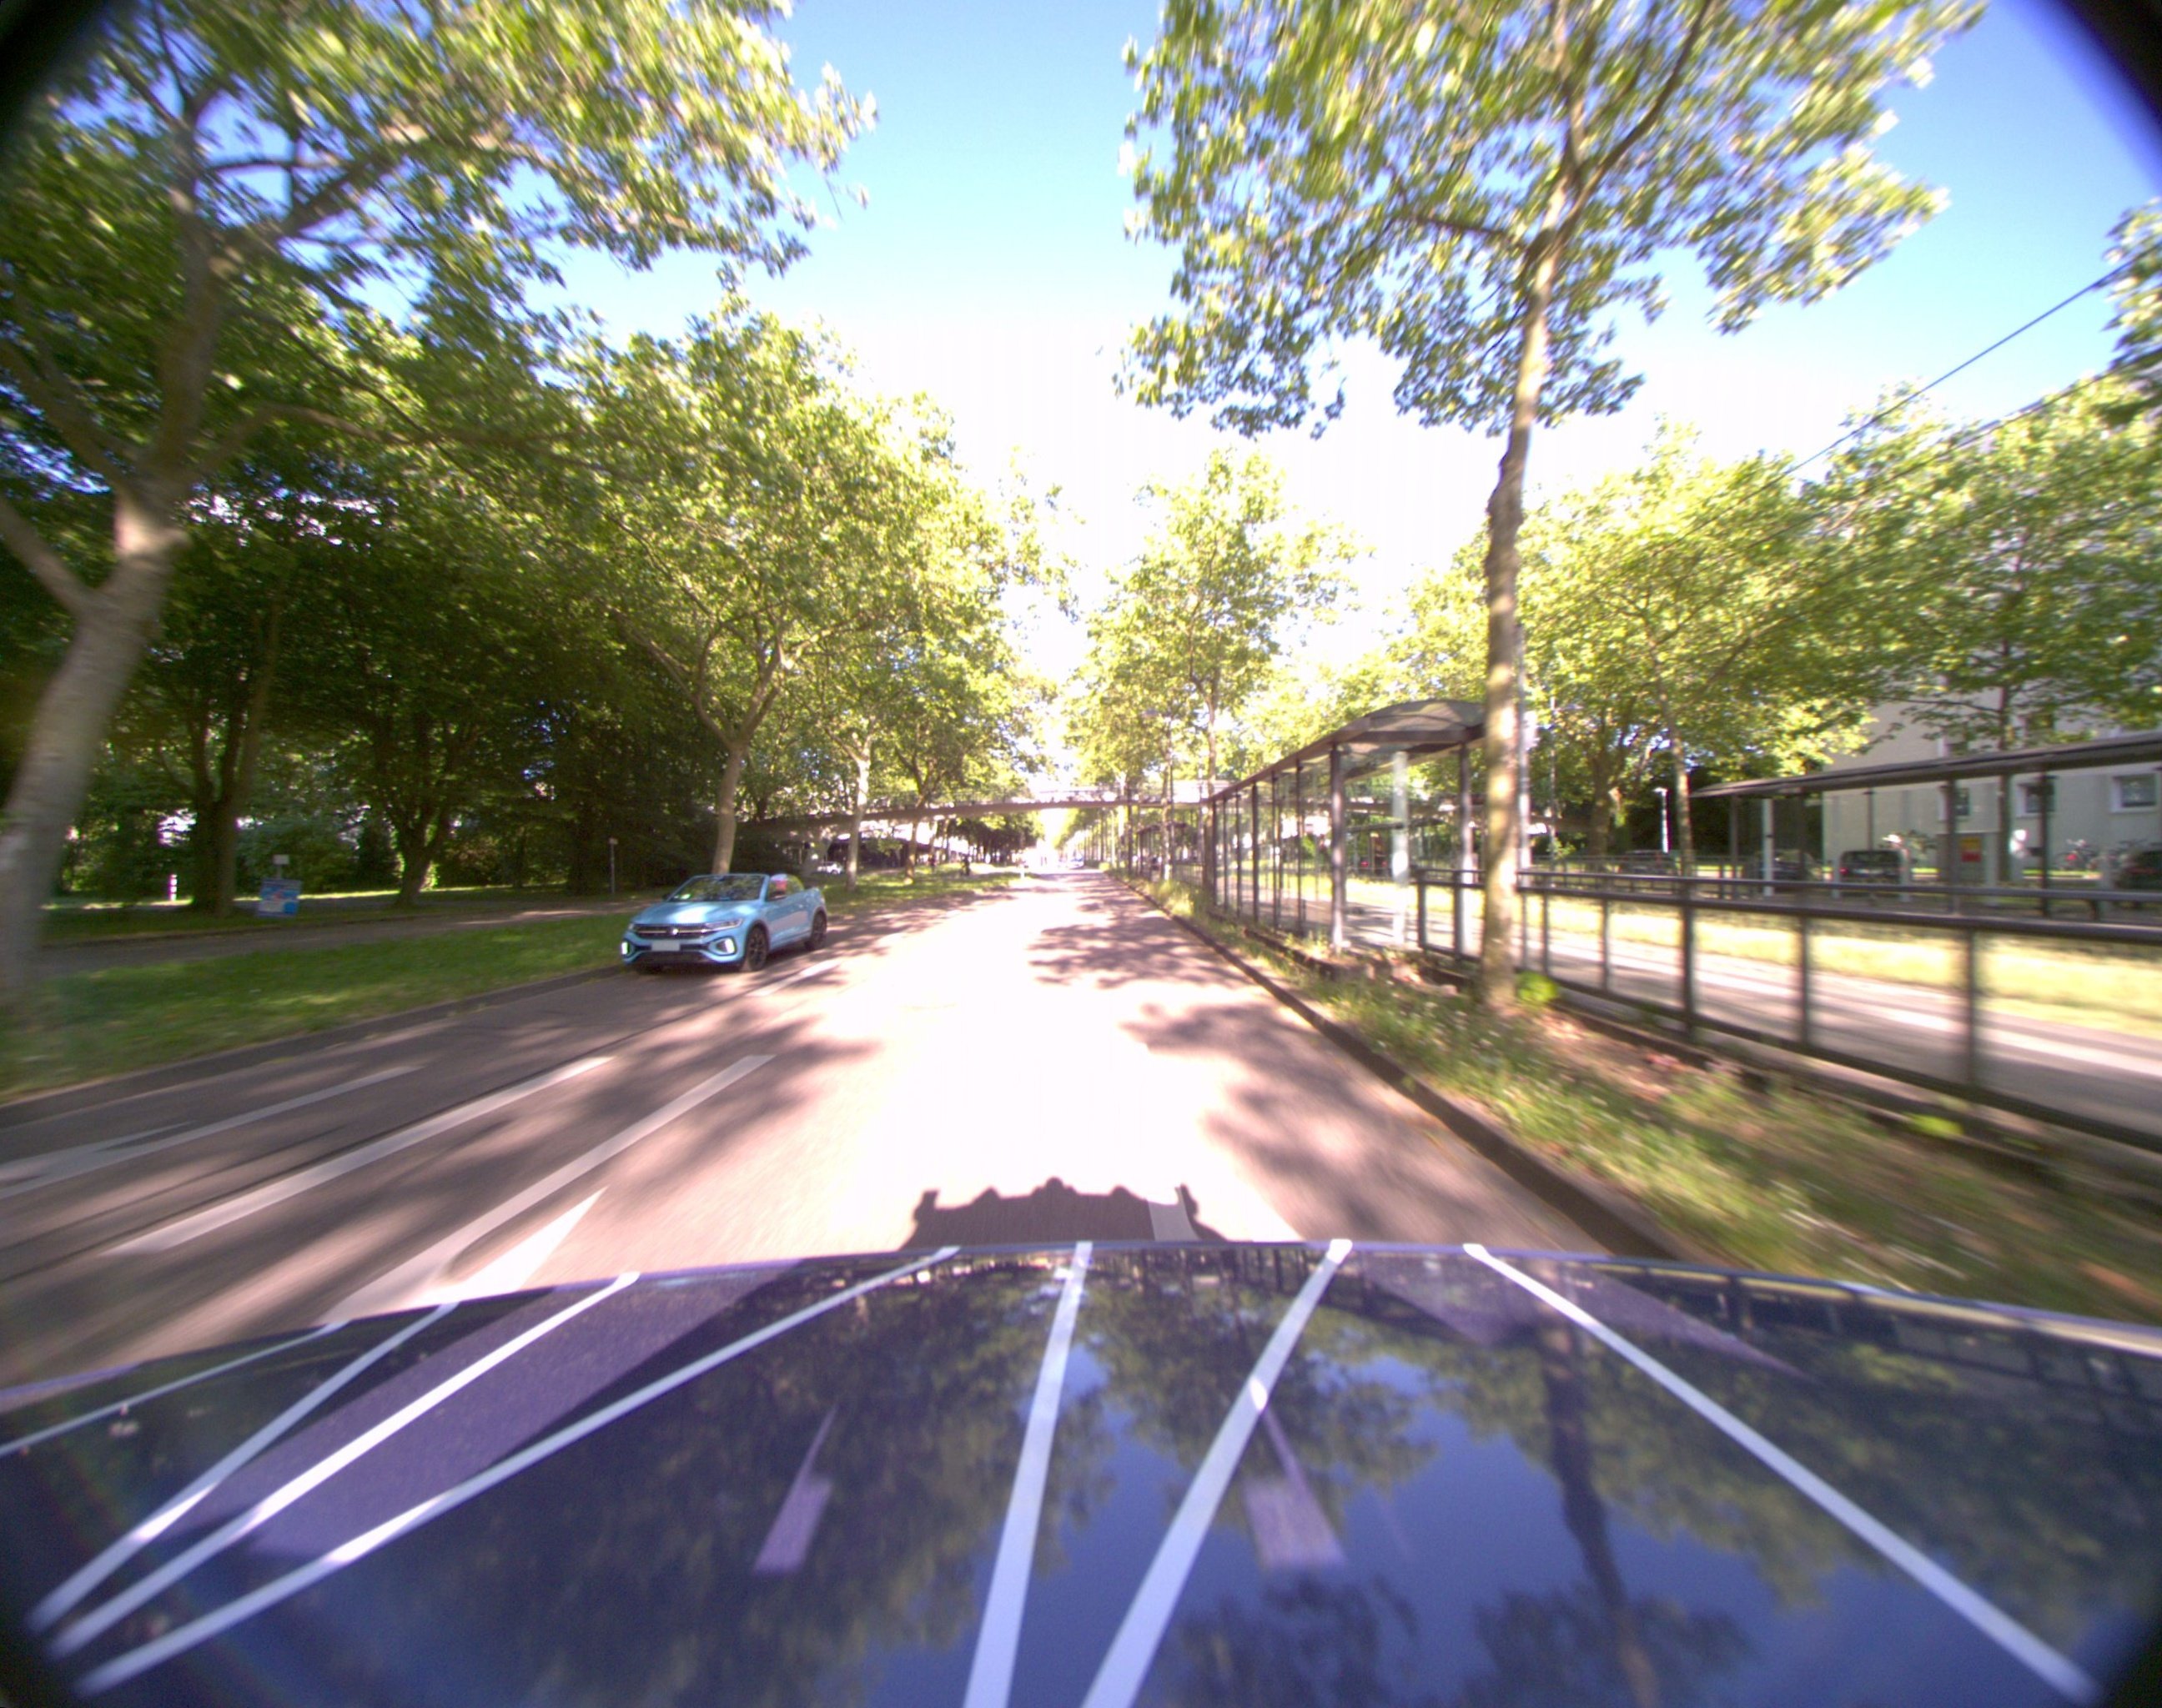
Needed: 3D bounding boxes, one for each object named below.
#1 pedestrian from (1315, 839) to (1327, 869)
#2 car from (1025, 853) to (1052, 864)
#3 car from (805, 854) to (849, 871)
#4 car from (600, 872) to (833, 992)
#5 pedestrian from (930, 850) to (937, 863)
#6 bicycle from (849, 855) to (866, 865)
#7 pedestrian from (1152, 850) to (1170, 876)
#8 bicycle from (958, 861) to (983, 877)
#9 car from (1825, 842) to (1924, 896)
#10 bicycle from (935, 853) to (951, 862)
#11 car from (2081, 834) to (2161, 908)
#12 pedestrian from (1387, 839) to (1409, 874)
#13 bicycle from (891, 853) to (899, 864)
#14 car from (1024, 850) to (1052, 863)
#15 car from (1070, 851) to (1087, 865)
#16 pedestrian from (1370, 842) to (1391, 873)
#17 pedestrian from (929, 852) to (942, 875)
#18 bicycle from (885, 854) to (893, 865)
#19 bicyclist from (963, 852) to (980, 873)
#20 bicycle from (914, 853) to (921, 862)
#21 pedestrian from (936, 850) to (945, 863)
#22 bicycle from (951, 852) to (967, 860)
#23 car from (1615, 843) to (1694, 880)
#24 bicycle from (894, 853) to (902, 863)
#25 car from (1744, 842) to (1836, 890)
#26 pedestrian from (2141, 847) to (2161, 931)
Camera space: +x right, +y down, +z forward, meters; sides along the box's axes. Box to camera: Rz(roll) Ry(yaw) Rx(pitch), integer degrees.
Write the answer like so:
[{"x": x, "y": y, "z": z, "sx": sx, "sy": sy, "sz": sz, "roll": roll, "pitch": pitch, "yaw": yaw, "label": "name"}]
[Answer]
[{"x": 14.556, "y": 0.006, "z": 46.070, "sx": 0.504, "sy": 1.760, "sz": 0.483, "roll": -3, "pitch": 2, "yaw": -40, "label": "pedestrian"}, {"x": -5.947, "y": 0.642, "z": 106.913, "sx": 3.837, "sy": 1.464, "sz": 1.514, "roll": 0, "pitch": 1, "yaw": -44, "label": "car"}, {"x": -24.971, "y": 0.857, "z": 74.808, "sx": 3.739, "sy": 1.486, "sz": 1.709, "roll": -2, "pitch": -2, "yaw": -3, "label": "car"}, {"x": -5.644, "y": 1.113, "z": 12.431, "sx": 1.780, "sy": 1.475, "sz": 4.099, "roll": -1, "pitch": 1, "yaw": 0, "label": "car"}, {"x": -20.263, "y": 0.306, "z": 104.312, "sx": 0.967, "sy": 1.830, "sz": 0.952, "roll": -1, "pitch": 1, "yaw": -9, "label": "pedestrian"}, {"x": -26.227, "y": 0.734, "z": 89.255, "sx": 1.806, "sy": 1.109, "sz": 0.710, "roll": -1, "pitch": 2, "yaw": -8, "label": "bicycle"}, {"x": 3.993, "y": 0.448, "z": 38.101, "sx": 0.736, "sy": 1.245, "sz": 0.587, "roll": -3, "pitch": 1, "yaw": -6, "label": "pedestrian"}, {"x": -8.364, "y": 1.105, "z": 57.644, "sx": 1.831, "sy": 1.140, "sz": 0.816, "roll": 2, "pitch": 2, "yaw": 36, "label": "bicycle"}, {"x": 24.693, "y": 0.435, "z": 23.612, "sx": 4.207, "sy": 1.420, "sz": 1.696, "roll": -3, "pitch": 0, "yaw": -38, "label": "car"}, {"x": -18.490, "y": 0.507, "z": 101.893, "sx": 2.069, "sy": 1.151, "sz": 0.562, "roll": 0, "pitch": 1, "yaw": 14, "label": "bicycle"}, {"x": 25.173, "y": 0.335, "z": 17.693, "sx": 4.508, "sy": 1.489, "sz": 1.895, "roll": -3, "pitch": 0, "yaw": -42, "label": "car"}, {"x": 15.190, "y": 0.112, "z": 36.369, "sx": 0.731, "sy": 1.625, "sz": 0.715, "roll": 0, "pitch": 1, "yaw": -2, "label": "pedestrian"}, {"x": -23.275, "y": 0.577, "z": 95.051, "sx": 0.577, "sy": 1.246, "sz": 1.805, "roll": -2, "pitch": 1, "yaw": -2, "label": "bicycle"}, {"x": -6.282, "y": 0.375, "z": 110.960, "sx": 1.763, "sy": 1.832, "sz": 3.960, "roll": 1, "pitch": 1, "yaw": 44, "label": "car"}, {"x": -0.305, "y": 0.510, "z": 92.293, "sx": 1.898, "sy": 1.623, "sz": 4.502, "roll": -2, "pitch": 0, "yaw": 2, "label": "car"}, {"x": 14.480, "y": 0.167, "z": 36.739, "sx": 0.644, "sy": 1.505, "sz": 0.683, "roll": 0, "pitch": 1, "yaw": -13, "label": "pedestrian"}, {"x": -11.146, "y": 0.752, "z": 58.249, "sx": 0.658, "sy": 1.767, "sz": 0.741, "roll": -2, "pitch": -1, "yaw": 37, "label": "pedestrian"}, {"x": -23.003, "y": 0.614, "z": 91.061, "sx": 0.577, "sy": 1.246, "sz": 1.805, "roll": -2, "pitch": 1, "yaw": -2, "label": "bicycle"}, {"x": -8.334, "y": 0.642, "z": 57.634, "sx": 0.954, "sy": 1.622, "sz": 0.817, "roll": 0, "pitch": -1, "yaw": 36, "label": "bicyclist"}, {"x": -22.381, "y": 0.473, "z": 103.744, "sx": 0.577, "sy": 1.246, "sz": 1.805, "roll": -2, "pitch": 1, "yaw": -2, "label": "bicycle"}, {"x": -18.795, "y": 0.306, "z": 101.345, "sx": 1.131, "sy": 1.698, "sz": 0.732, "roll": -1, "pitch": 1, "yaw": -9, "label": "pedestrian"}, {"x": -16.145, "y": 0.251, "z": 100.633, "sx": 2.074, "sy": 1.151, "sz": 0.561, "roll": 0, "pitch": 1, "yaw": -11, "label": "bicycle"}, {"x": 25.078, "y": 0.305, "z": 33.179, "sx": 4.207, "sy": 1.420, "sz": 1.696, "roll": -3, "pitch": 0, "yaw": -38, "label": "car"}, {"x": -23.414, "y": 0.557, "z": 97.124, "sx": 0.577, "sy": 1.246, "sz": 1.805, "roll": -2, "pitch": 1, "yaw": -2, "label": "bicycle"}, {"x": 24.697, "y": 0.401, "z": 26.424, "sx": 4.207, "sy": 1.420, "sz": 1.696, "roll": -3, "pitch": 0, "yaw": -38, "label": "car"}, {"x": 14.673, "y": 0.478, "z": 9.912, "sx": 0.696, "sy": 1.121, "sz": 0.662, "roll": 2, "pitch": 1, "yaw": 1, "label": "pedestrian"}]
